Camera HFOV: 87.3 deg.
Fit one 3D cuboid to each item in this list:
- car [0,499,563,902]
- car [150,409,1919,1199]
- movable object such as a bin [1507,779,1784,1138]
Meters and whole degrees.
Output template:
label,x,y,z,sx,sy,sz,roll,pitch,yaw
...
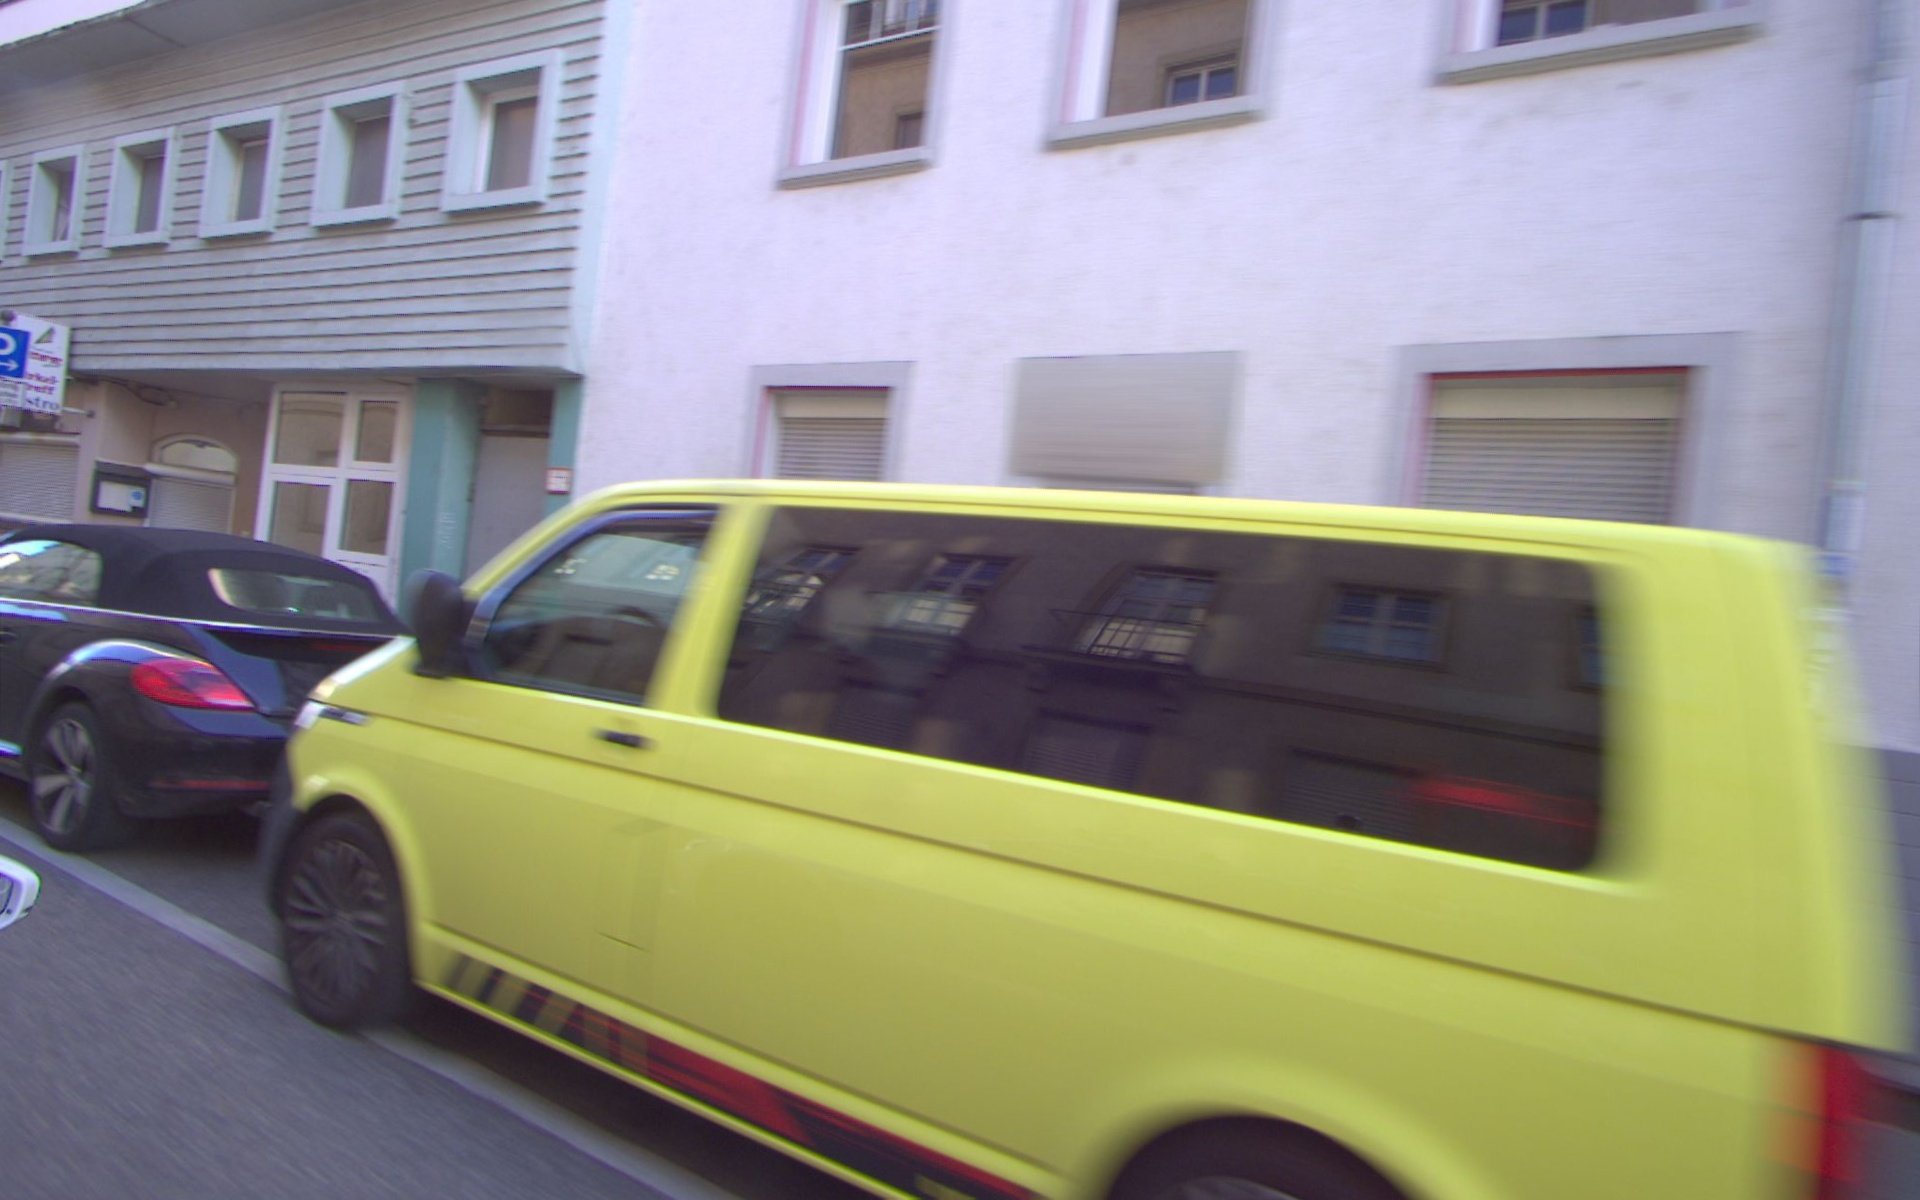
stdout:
label,x,y,z,sx,sy,sz,roll,pitch,yaw
car,-4.645,0.306,5.783,4.291,1.506,1.889,7,-2,27
car,-0.301,0.577,3.324,4.762,1.904,1.888,7,-2,29
movable object such as a bin,2.640,1.345,3.969,0.696,1.066,0.627,6,4,24
